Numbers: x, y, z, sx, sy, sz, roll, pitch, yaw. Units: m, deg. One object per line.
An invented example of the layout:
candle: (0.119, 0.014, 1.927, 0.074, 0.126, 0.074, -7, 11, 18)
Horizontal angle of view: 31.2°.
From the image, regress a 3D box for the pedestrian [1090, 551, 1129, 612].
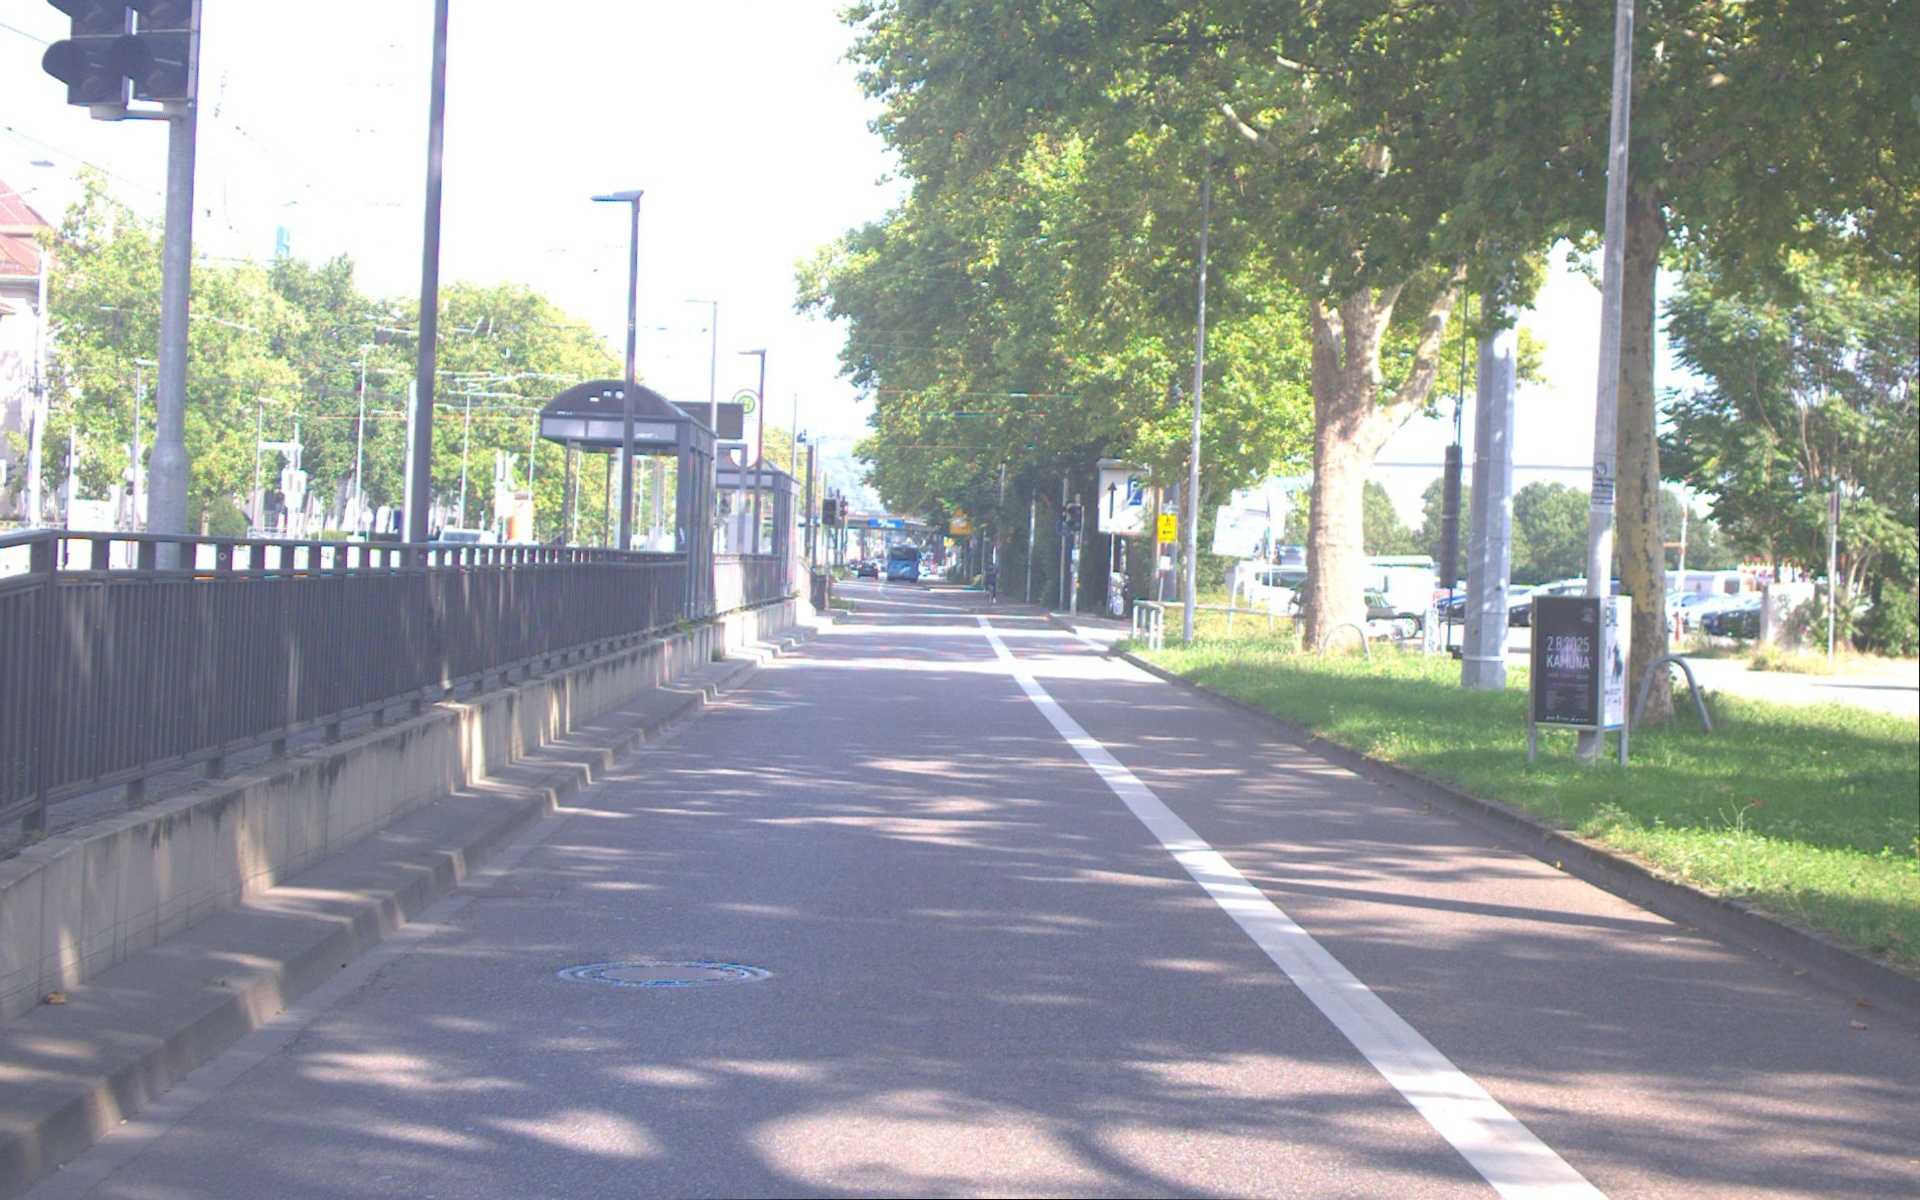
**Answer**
pedestrian: (4.040, -0.497, 92.674, 0.626, 1.612, 0.843, 2, 1, 37)

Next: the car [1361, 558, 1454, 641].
car: (11.645, -0.047, 89.632, 1.722, 2.041, 4.462, 2, 1, -1)

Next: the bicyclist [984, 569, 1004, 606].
bicyclist: (1.384, -0.506, 139.900, 0.705, 1.456, 1.009, 3, 0, -1)

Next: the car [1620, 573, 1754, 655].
car: (15.966, 0.312, 75.401, 1.724, 1.673, 4.242, 2, 1, 28)

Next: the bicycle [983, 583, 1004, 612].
bicycle: (1.359, -0.105, 139.792, 0.715, 1.104, 2.509, 3, 0, -1)
